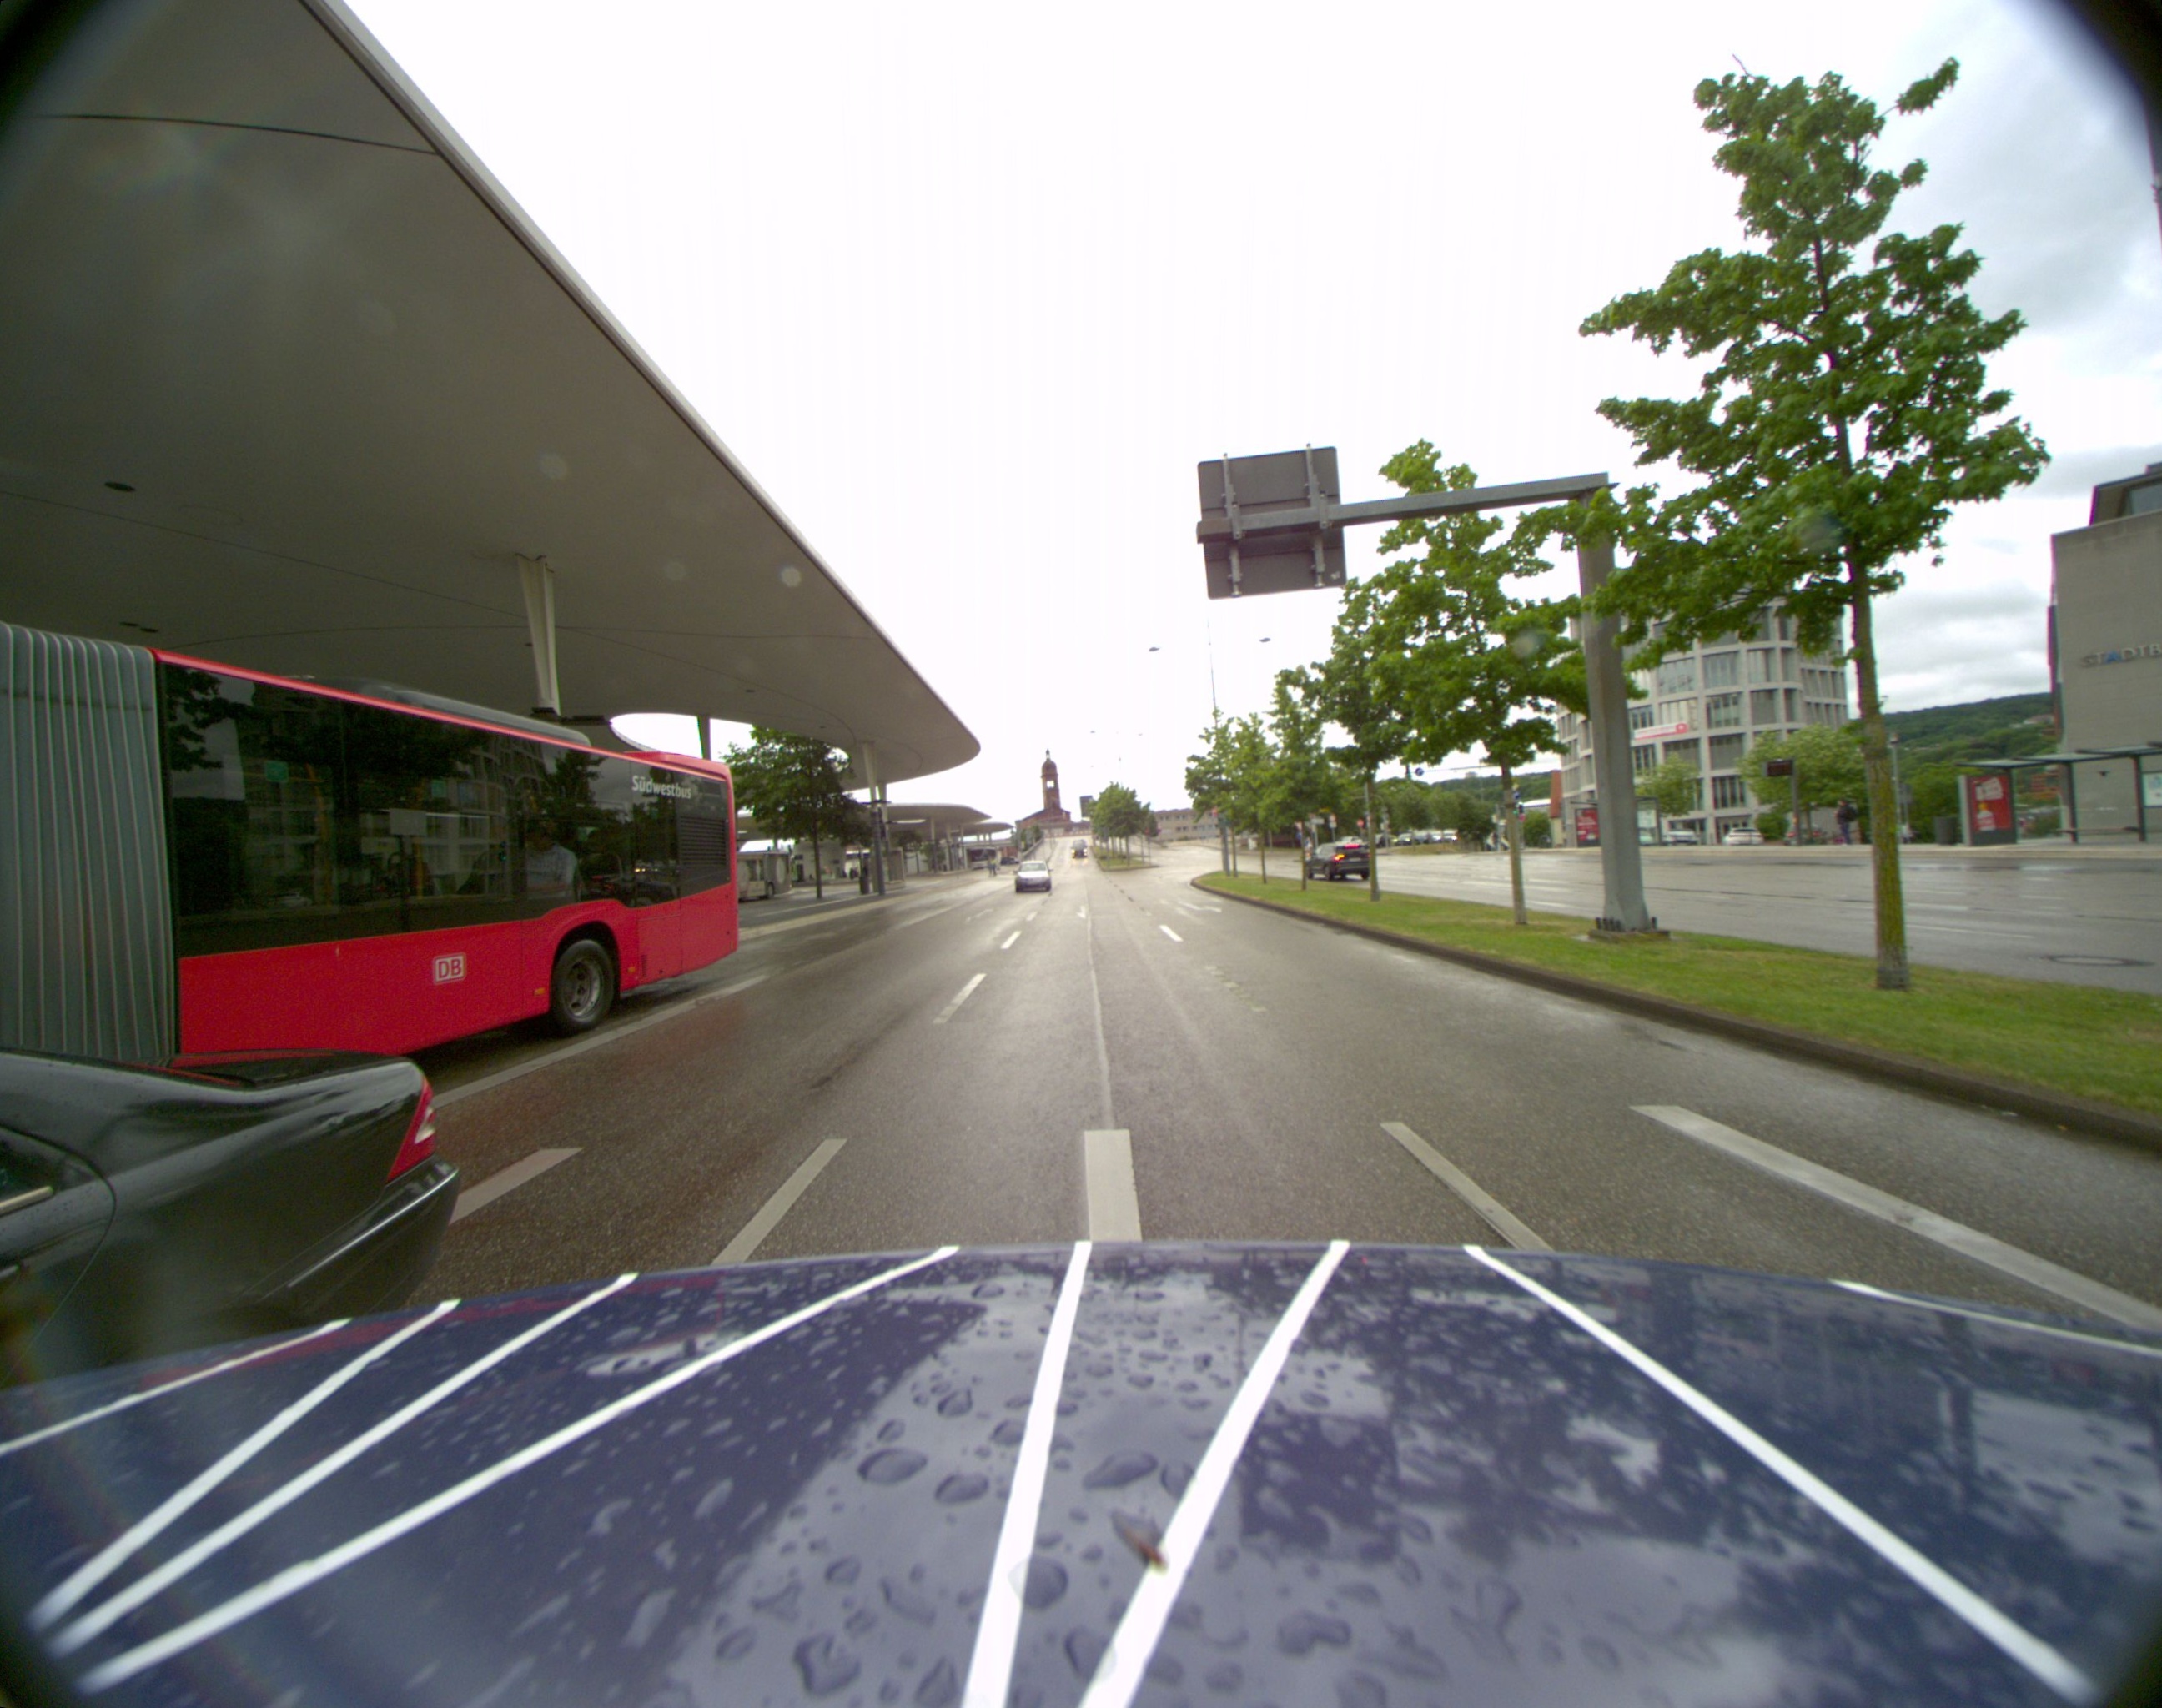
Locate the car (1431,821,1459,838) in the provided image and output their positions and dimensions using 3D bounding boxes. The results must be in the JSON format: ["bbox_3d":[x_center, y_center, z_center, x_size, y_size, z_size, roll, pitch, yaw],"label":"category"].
[{"bbox_3d":[46.911,-3.174,97.993,1.995,2.002,4.008,-2,0,44],"label":"car"}]

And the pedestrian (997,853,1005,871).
[{"bbox_3d":[-7.293,0.756,68.978,0.557,1.614,0.552,-3,1,1],"label":"pedestrian"}]

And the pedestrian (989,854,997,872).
[{"bbox_3d":[-7.969,0.794,69.069,0.576,1.614,0.588,-3,1,1],"label":"pedestrian"}]

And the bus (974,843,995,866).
[{"bbox_3d":[-14.297,0.071,113.256,2.675,3.111,9.712,-3,0,-5],"label":"bus"}]

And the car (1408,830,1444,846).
[{"bbox_3d":[42.124,-1.961,92.772,4.925,1.702,2.190,-3,1,-43],"label":"car"}]

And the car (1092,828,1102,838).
[{"bbox_3d":[3.273,-4.289,154.726,1.998,1.765,4.000,-3,0,1],"label":"car"}]

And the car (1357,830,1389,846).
[{"bbox_3d":[34.645,-1.846,90.068,4.008,1.783,1.995,-2,0,-43],"label":"car"}]

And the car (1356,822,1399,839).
[{"bbox_3d":[41.296,-3.290,106.043,2.315,2.002,5.021,-3,1,-41],"label":"car"}]

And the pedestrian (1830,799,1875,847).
[{"bbox_3d":[29.320,-1.171,28.878,0.787,1.750,0.972,-3,1,-28],"label":"pedestrian"}]

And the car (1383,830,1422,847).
[{"bbox_3d":[36.931,-1.796,87.227,4.925,1.702,2.190,-3,1,-43],"label":"car"}]

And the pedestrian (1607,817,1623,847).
[{"bbox_3d":[29.508,-1.211,42.001,0.504,1.625,0.502,-2,1,1],"label":"pedestrian"}]

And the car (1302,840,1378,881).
[{"bbox_3d":[11.617,0.244,34.407,1.826,1.630,4.599,-3,0,0],"label":"car"}]

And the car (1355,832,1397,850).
[{"bbox_3d":[31.623,-1.397,81.472,4.925,1.702,2.190,-3,1,-43],"label":"car"}]

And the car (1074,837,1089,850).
[{"bbox_3d":[0.082,-1.368,101.395,1.704,1.656,3.998,-3,1,-2],"label":"car"}]

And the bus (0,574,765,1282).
[{"bbox_3d":[-6.155,0.351,7.122,2.750,3.155,8.120,-3,0,1],"label":"bus"}]

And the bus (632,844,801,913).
[{"bbox_3d":[-19.806,1.139,42.680,3.003,3.088,12.355,-4,0,2],"label":"bus"}]

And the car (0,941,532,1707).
[{"bbox_3d":[-2.827,1.163,0.359,1.750,1.472,4.434,-6,1,0],"label":"car"}]

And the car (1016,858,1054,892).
[{"bbox_3d":[-2.255,0.964,36.803,1.628,1.450,3.734,-3,0,-4],"label":"car"}]

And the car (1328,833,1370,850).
[{"bbox_3d":[29.704,-1.405,84.095,4.925,1.702,2.190,-3,1,-42],"label":"car"}]

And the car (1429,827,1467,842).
[{"bbox_3d":[49.799,-2.645,103.201,2.196,1.702,4.912,-3,0,-10],"label":"car"}]

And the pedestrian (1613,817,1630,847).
[{"bbox_3d":[30.057,-1.238,42.234,0.520,1.625,0.536,-2,1,1],"label":"pedestrian"}]
